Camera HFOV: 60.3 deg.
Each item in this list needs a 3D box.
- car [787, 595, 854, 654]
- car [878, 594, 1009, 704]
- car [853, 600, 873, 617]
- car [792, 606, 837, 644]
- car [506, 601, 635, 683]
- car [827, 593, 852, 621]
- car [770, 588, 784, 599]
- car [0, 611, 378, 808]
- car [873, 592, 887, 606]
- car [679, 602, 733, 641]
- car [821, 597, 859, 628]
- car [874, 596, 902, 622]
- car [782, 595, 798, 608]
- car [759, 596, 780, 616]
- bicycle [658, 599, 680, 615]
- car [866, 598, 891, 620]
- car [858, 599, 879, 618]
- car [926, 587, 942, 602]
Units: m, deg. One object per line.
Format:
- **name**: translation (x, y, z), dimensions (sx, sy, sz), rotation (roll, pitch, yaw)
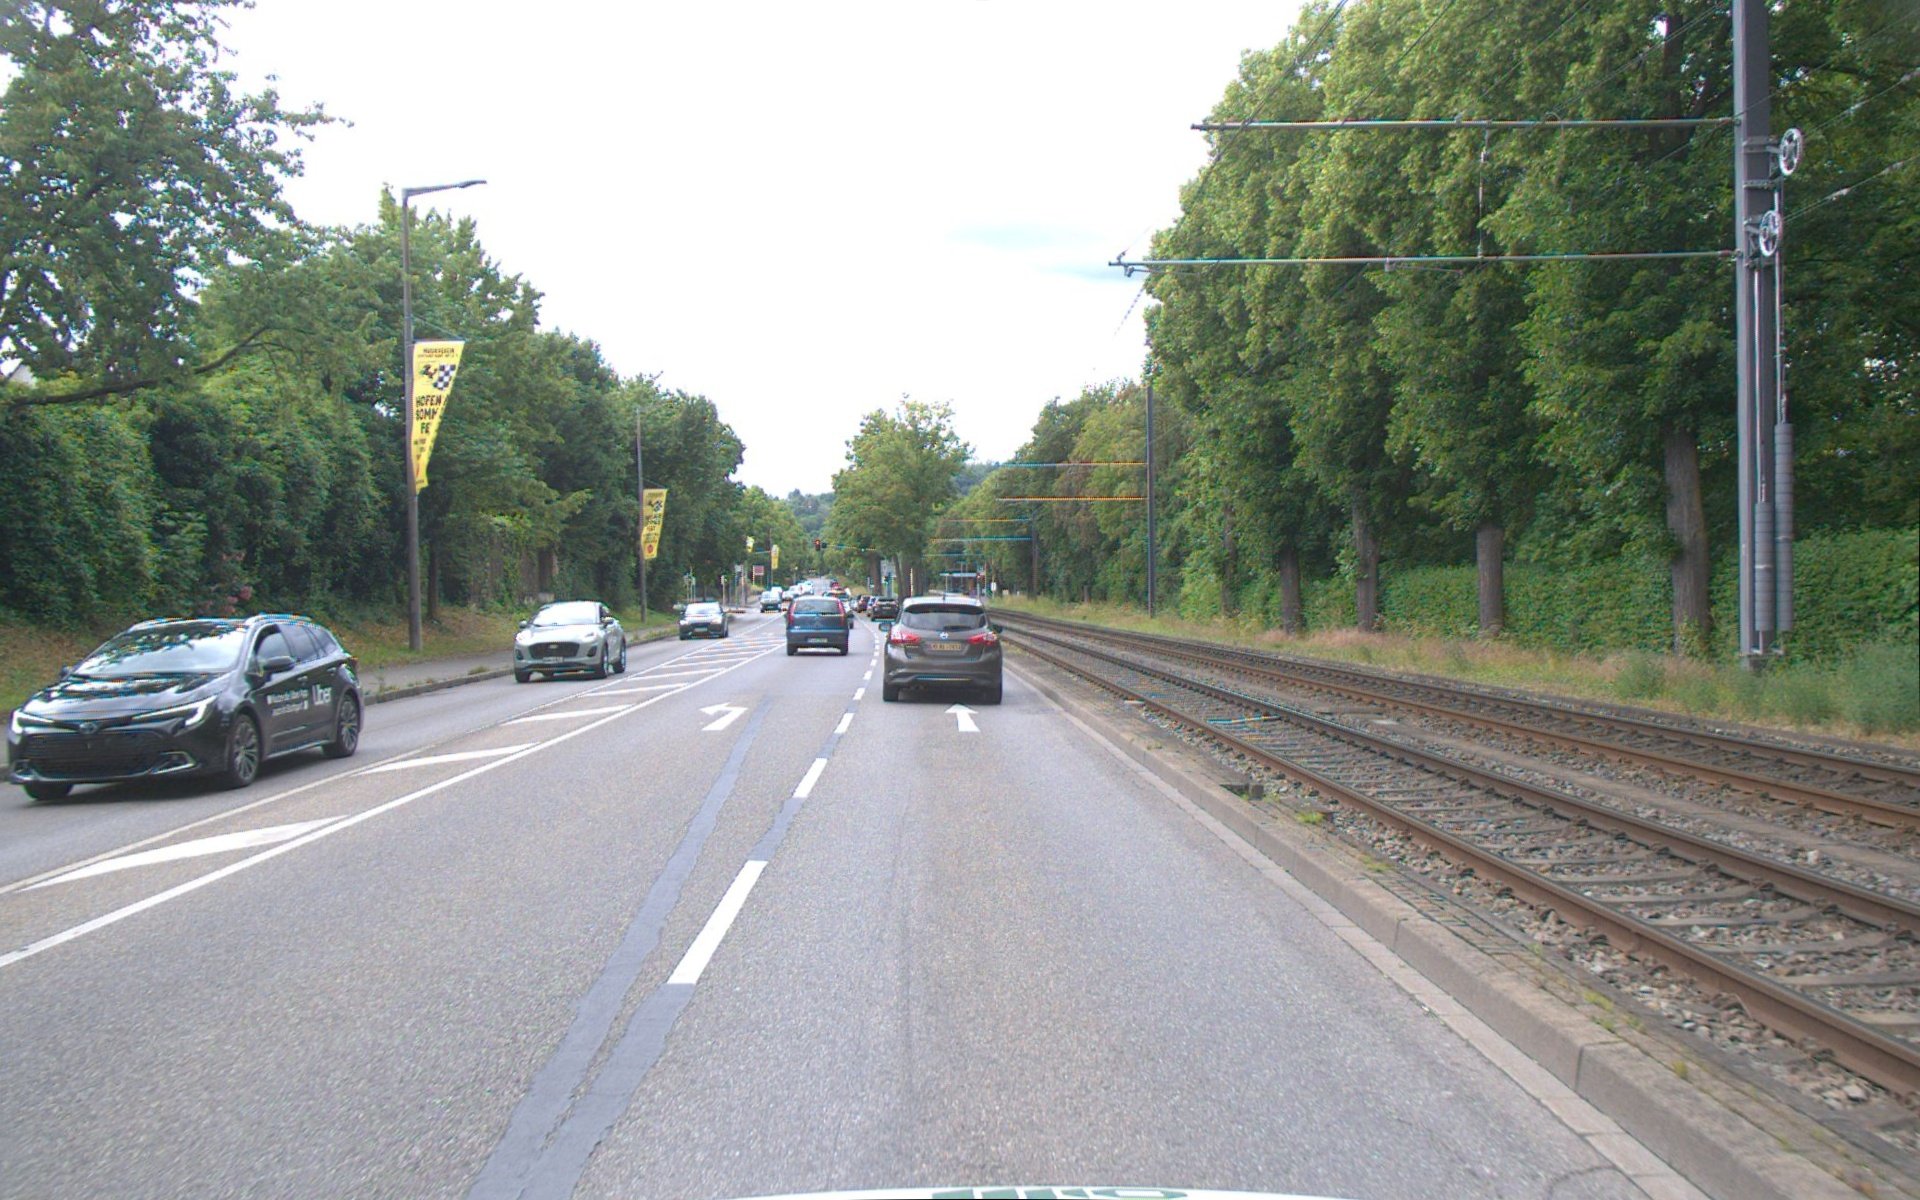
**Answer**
- **car**: translation (-3.637, 0.620, 43.601), dimensions (1.666, 1.469, 3.997), rotation (0, 0, -4)
- **car**: translation (-0.259, 0.688, 25.215), dimensions (1.813, 1.519, 3.999), rotation (1, 0, -1)
- **car**: translation (-8.917, 0.802, 152.233), dimensions (1.680, 1.577, 3.998), rotation (0, -1, -2)
- **car**: translation (-5.814, 0.999, 66.516), dimensions (1.681, 1.461, 3.997), rotation (0, -1, -3)
- **car**: translation (-7.886, 0.811, 33.824), dimensions (1.790, 1.482, 4.140), rotation (-3, 0, -3)
- **car**: translation (-8.209, 0.511, 113.067), dimensions (1.681, 1.896, 3.996), rotation (0, -1, -4)
- **car**: translation (-27.131, -0.924, 245.406), dimensions (1.680, 1.577, 3.998), rotation (0, -1, -2)
- **car**: translation (-6.824, 0.863, 14.970), dimensions (1.731, 1.425, 4.213), rotation (-3, 0, -3)
- **car**: translation (-9.777, -0.118, 202.046), dimensions (1.680, 1.577, 3.998), rotation (0, -1, -2)
- **car**: translation (-10.124, 0.825, 66.062), dimensions (1.805, 1.400, 4.443), rotation (-2, 0, -5)
- **car**: translation (-5.883, 0.593, 81.305), dimensions (1.680, 1.460, 3.999), rotation (0, 0, -2)
- **car**: translation (-4.486, 0.569, 103.266), dimensions (1.680, 1.577, 3.998), rotation (0, -1, -2)
- **car**: translation (-21.680, 0.157, 211.435), dimensions (1.680, 1.577, 3.998), rotation (0, -1, -2)
- **car**: translation (-17.267, 0.549, 150.092), dimensions (1.681, 1.791, 3.997), rotation (0, -1, -3)
- **bicycle**: translation (-20.337, 0.485, 115.609), dimensions (0.489, 1.127, 1.797), rotation (0, 0, 29)
- **car**: translation (-5.945, 0.634, 120.942), dimensions (1.680, 1.577, 3.998), rotation (0, -1, -2)
- **car**: translation (-7.799, 0.722, 141.272), dimensions (1.680, 1.577, 3.998), rotation (0, -1, -2)
- **car**: translation (-2.981, -0.646, 190.705), dimensions (1.681, 1.692, 3.704), rotation (0, -1, -3)
